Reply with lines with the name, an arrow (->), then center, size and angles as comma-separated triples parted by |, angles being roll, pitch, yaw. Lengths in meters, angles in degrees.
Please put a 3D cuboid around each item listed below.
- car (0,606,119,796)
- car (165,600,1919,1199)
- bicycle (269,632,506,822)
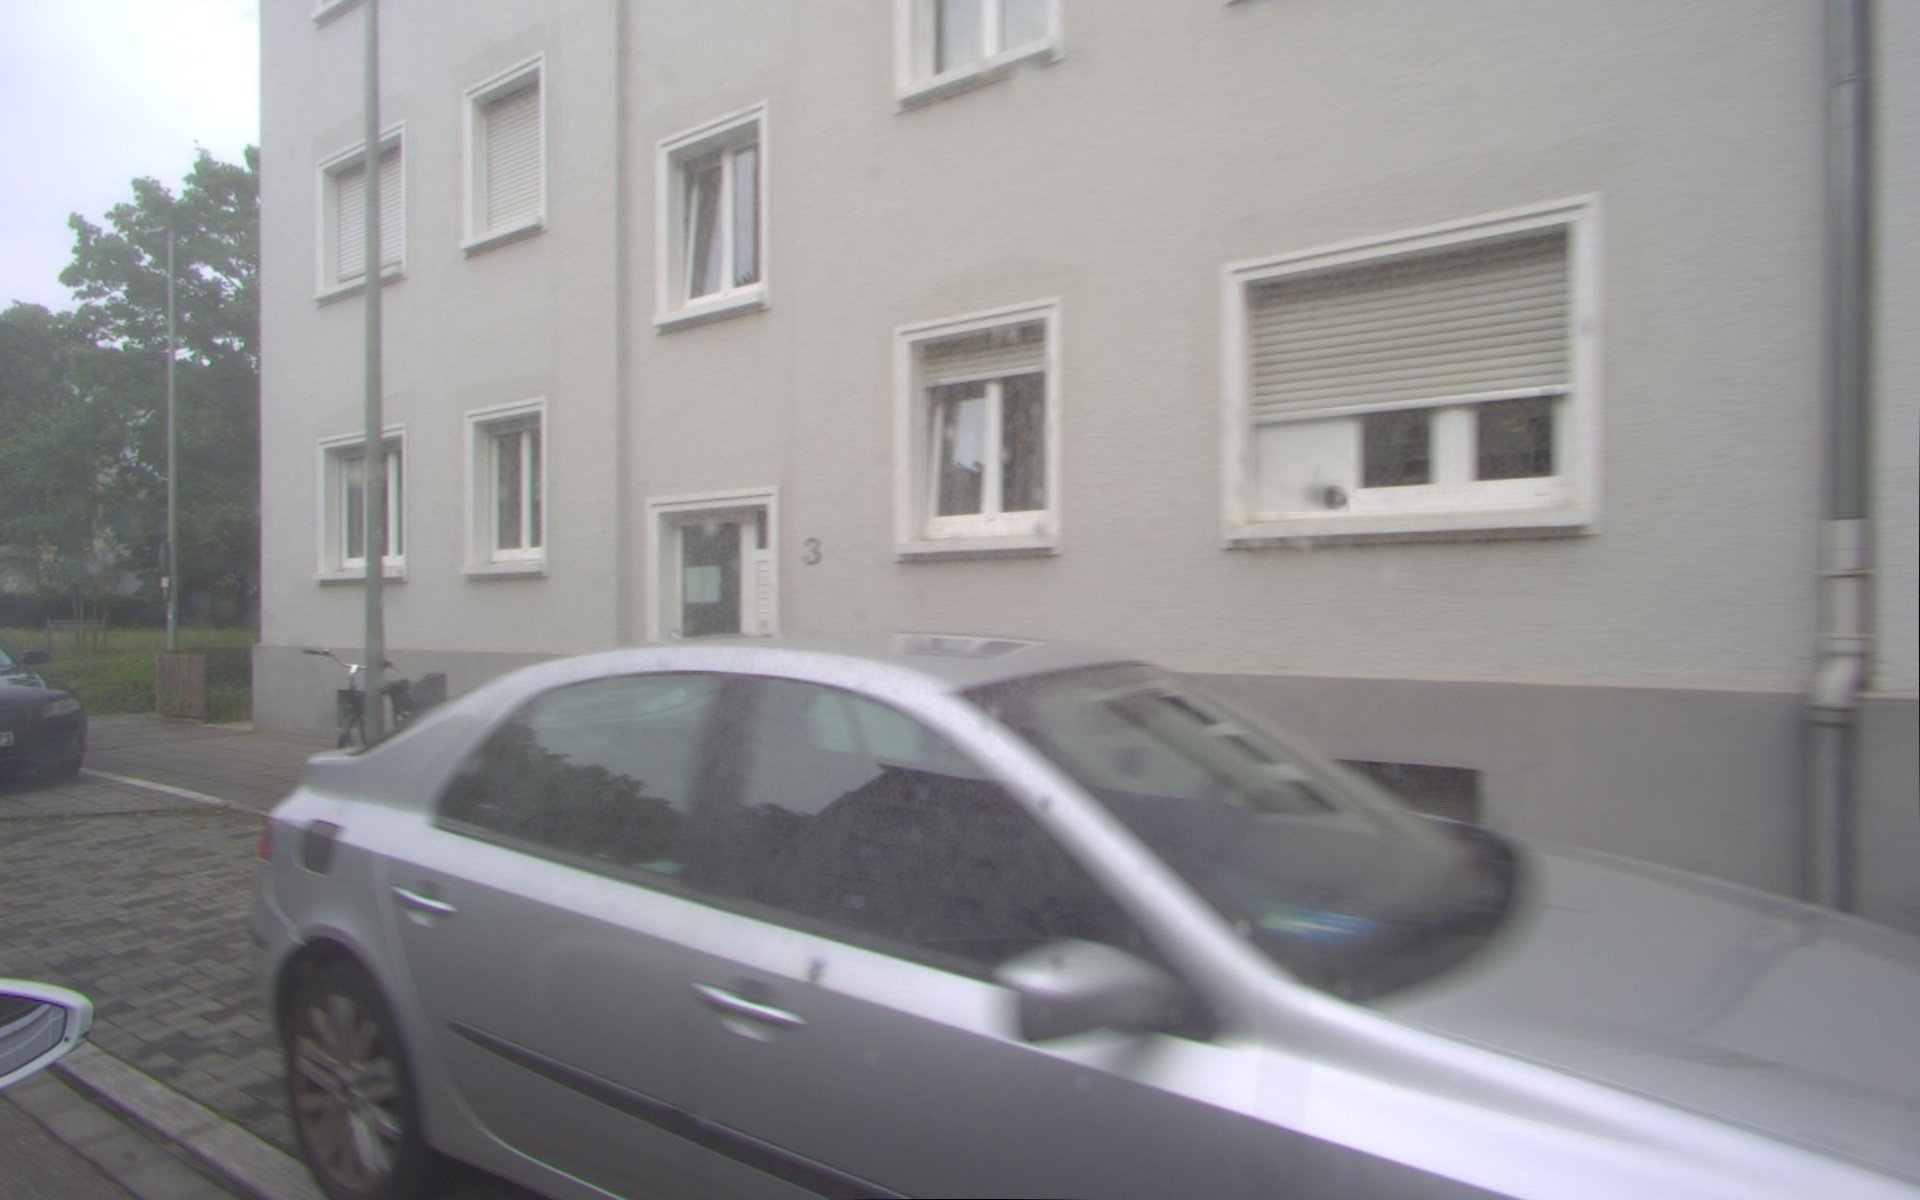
car -> -9.587, 0.799, 8.878 | 4.656, 1.482, 1.857 | 0, 0, 31
car -> 0.055, 0.751, 2.458 | 4.365, 1.482, 1.730 | 0, 0, 31
bicycle -> -4.334, 0.880, 7.542 | 1.868, 1.217, 0.747 | 0, 2, 33
